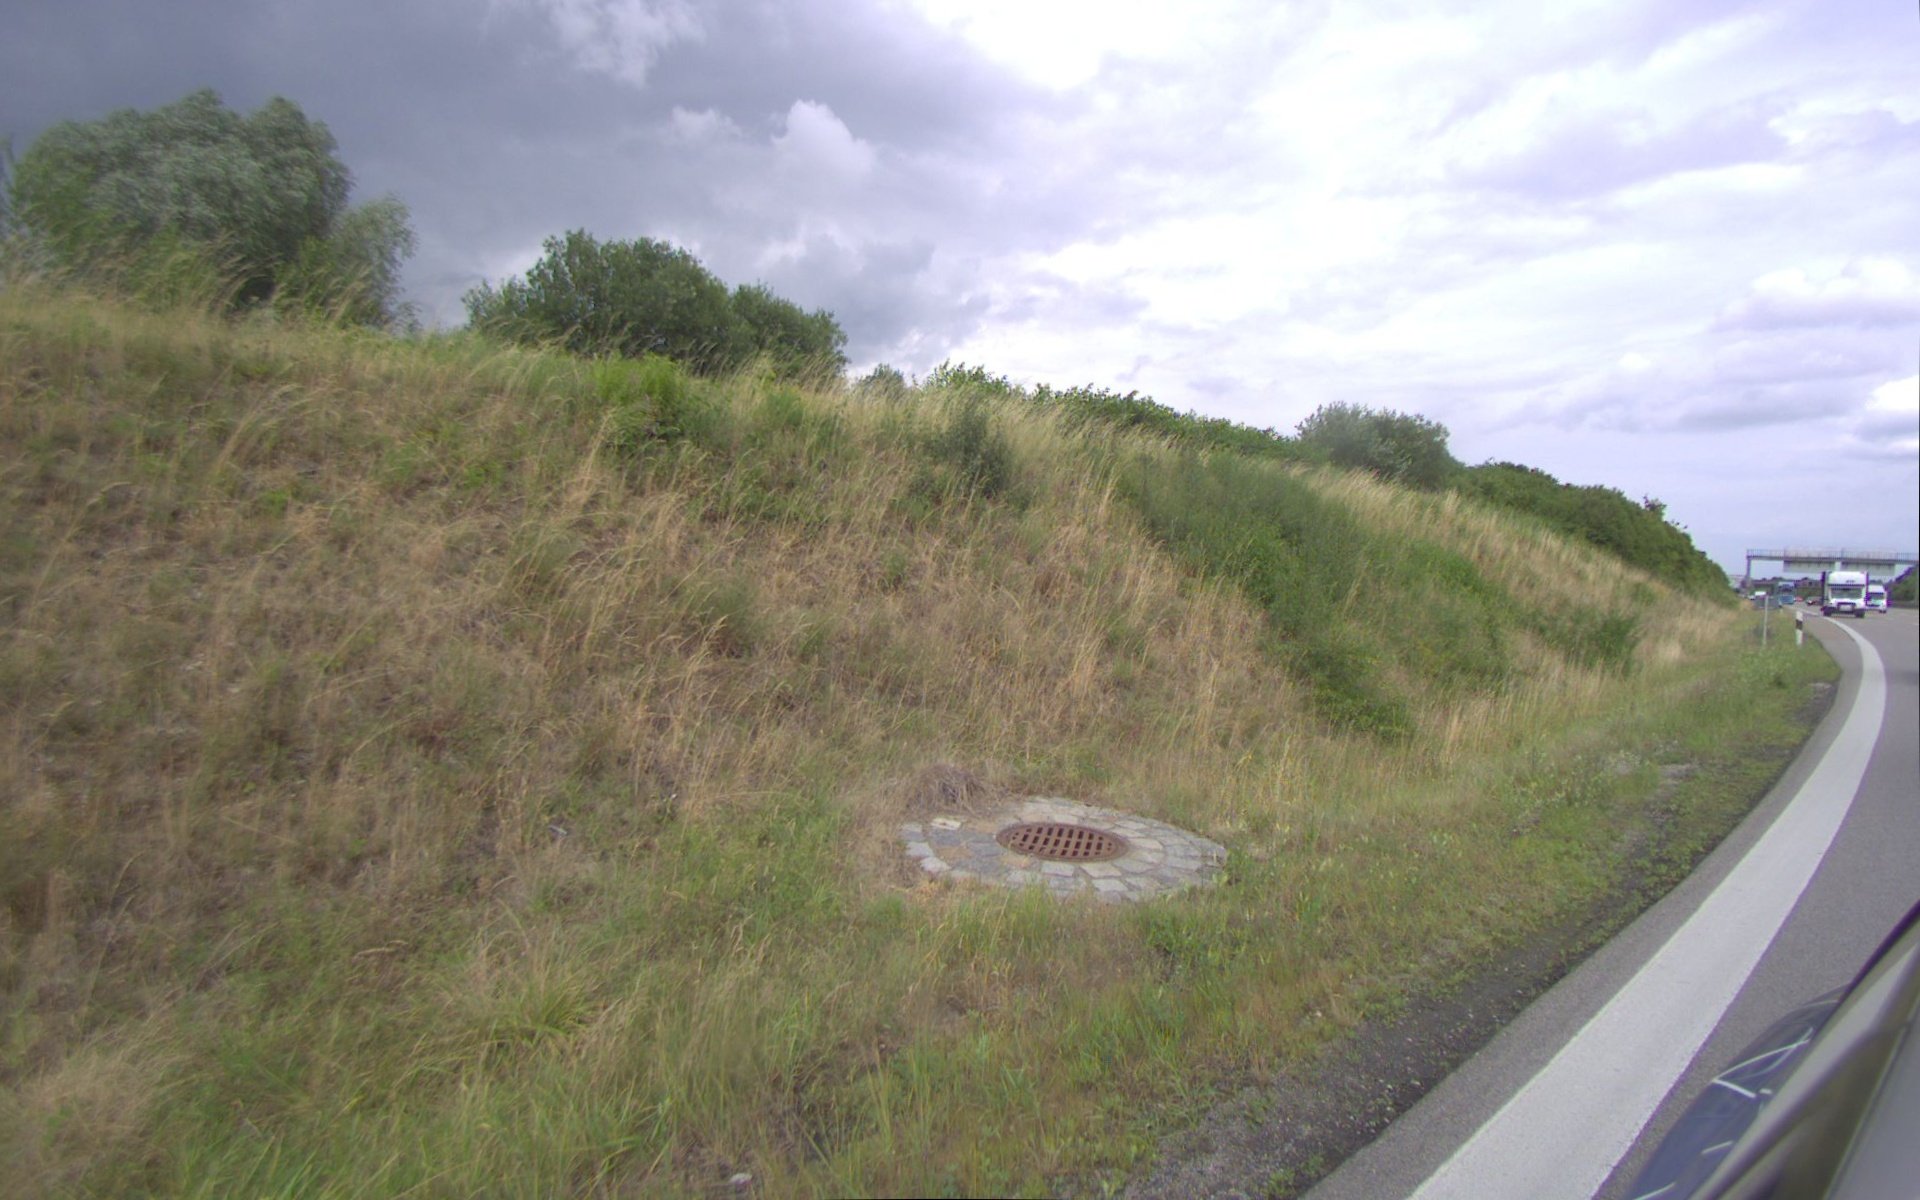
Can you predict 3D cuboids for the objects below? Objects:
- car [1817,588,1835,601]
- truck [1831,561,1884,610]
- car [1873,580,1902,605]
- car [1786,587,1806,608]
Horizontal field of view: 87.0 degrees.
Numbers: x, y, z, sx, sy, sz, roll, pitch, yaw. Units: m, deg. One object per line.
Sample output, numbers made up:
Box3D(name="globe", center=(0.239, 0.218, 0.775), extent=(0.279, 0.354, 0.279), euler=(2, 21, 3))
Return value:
Box3D(name="car", center=(138.194, -0.925, 161.556), extent=(1.991, 2.038, 3.943), euler=(2, 2, 39))
Box3D(name="truck", center=(62.830, -1.039, 70.937), extent=(2.439, 3.275, 7.088), euler=(2, 2, 39))
Box3D(name="car", center=(89.589, -0.747, 97.760), extent=(1.992, 2.425, 3.940), euler=(0, 1, 42))
Box3D(name="car", center=(152.932, -0.509, 185.165), extent=(2.494, 3.757, 7.594), euler=(2, 2, 39))
